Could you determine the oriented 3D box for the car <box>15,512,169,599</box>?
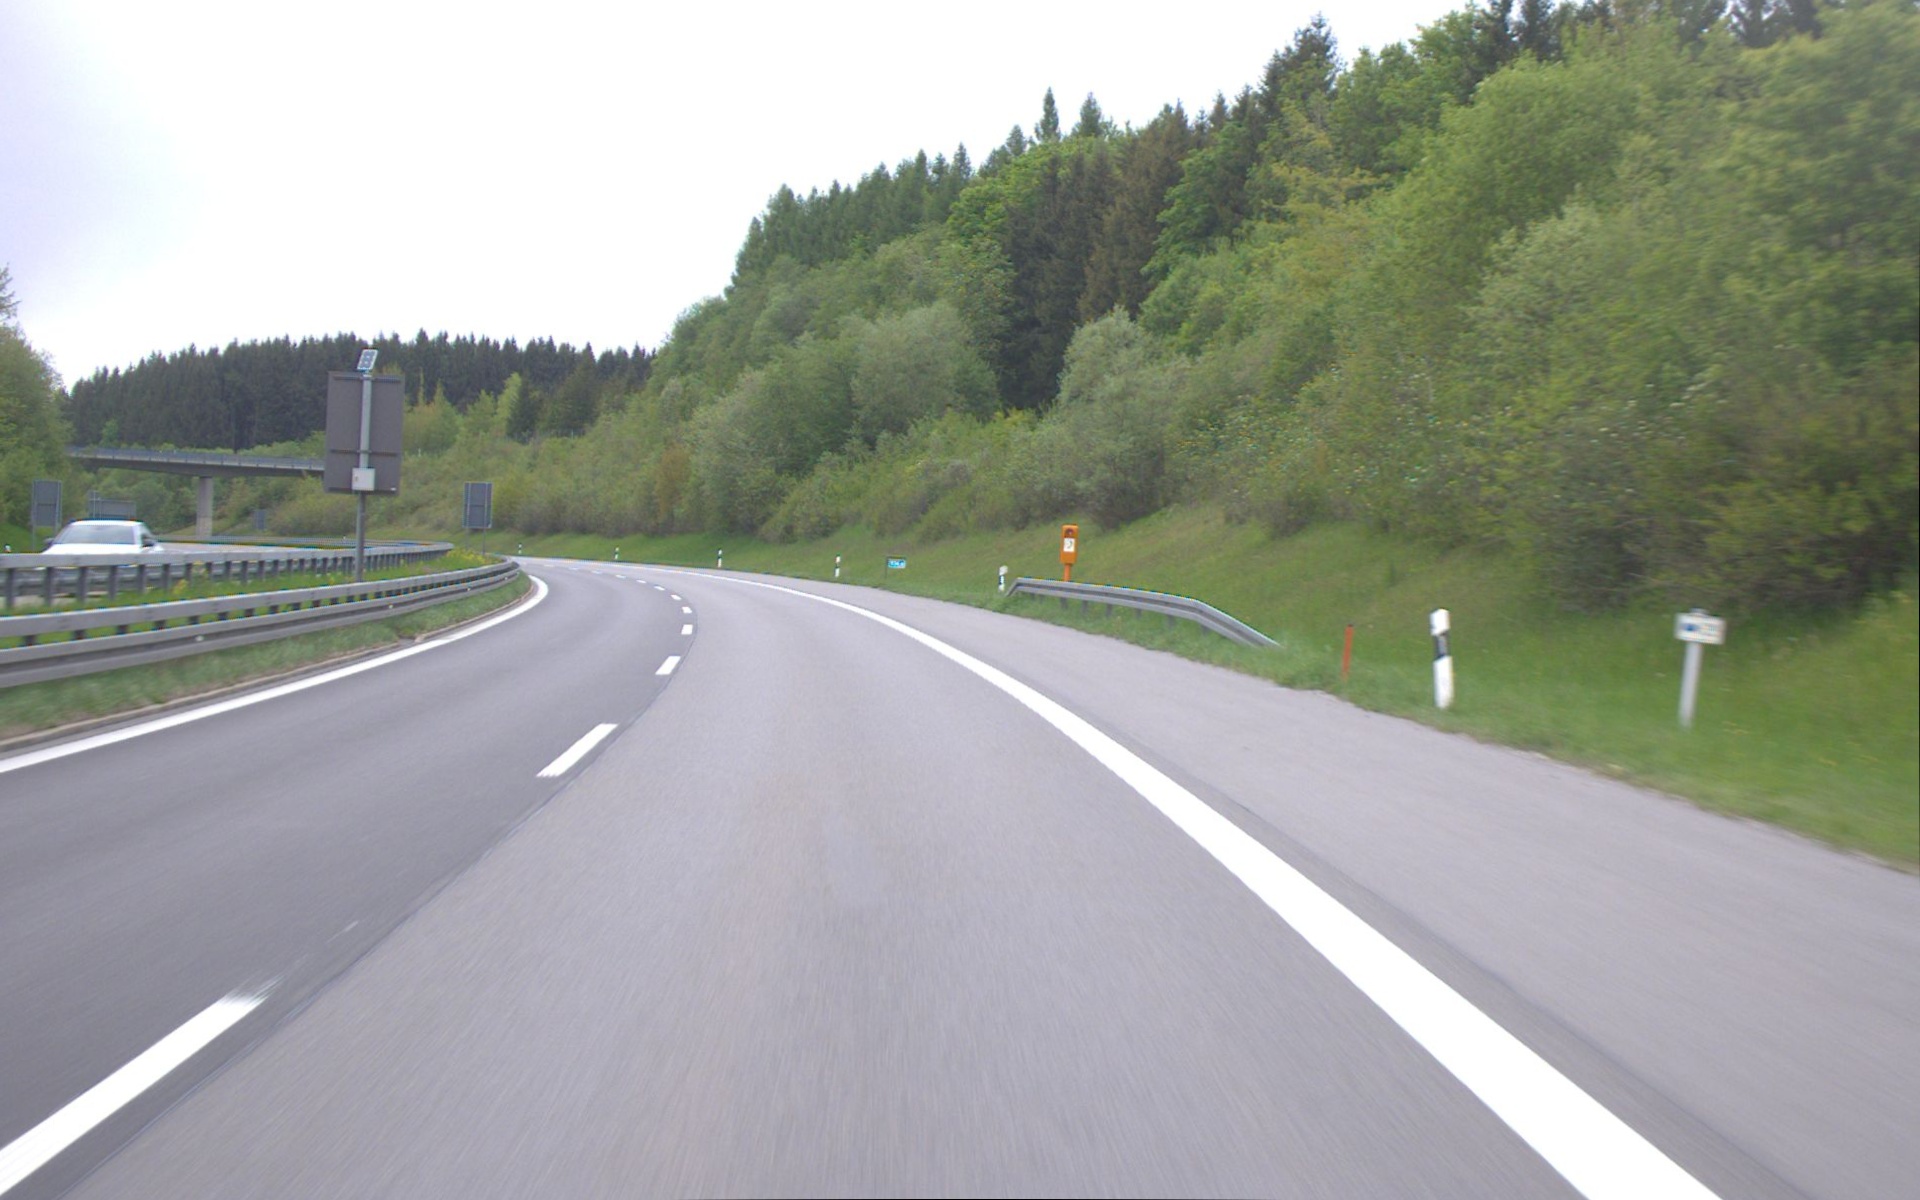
[{"bbox_3d":[-16.192,-0.864,64.318,1.993,1.424,4.464,4,1,-4],"label":"car"}]
